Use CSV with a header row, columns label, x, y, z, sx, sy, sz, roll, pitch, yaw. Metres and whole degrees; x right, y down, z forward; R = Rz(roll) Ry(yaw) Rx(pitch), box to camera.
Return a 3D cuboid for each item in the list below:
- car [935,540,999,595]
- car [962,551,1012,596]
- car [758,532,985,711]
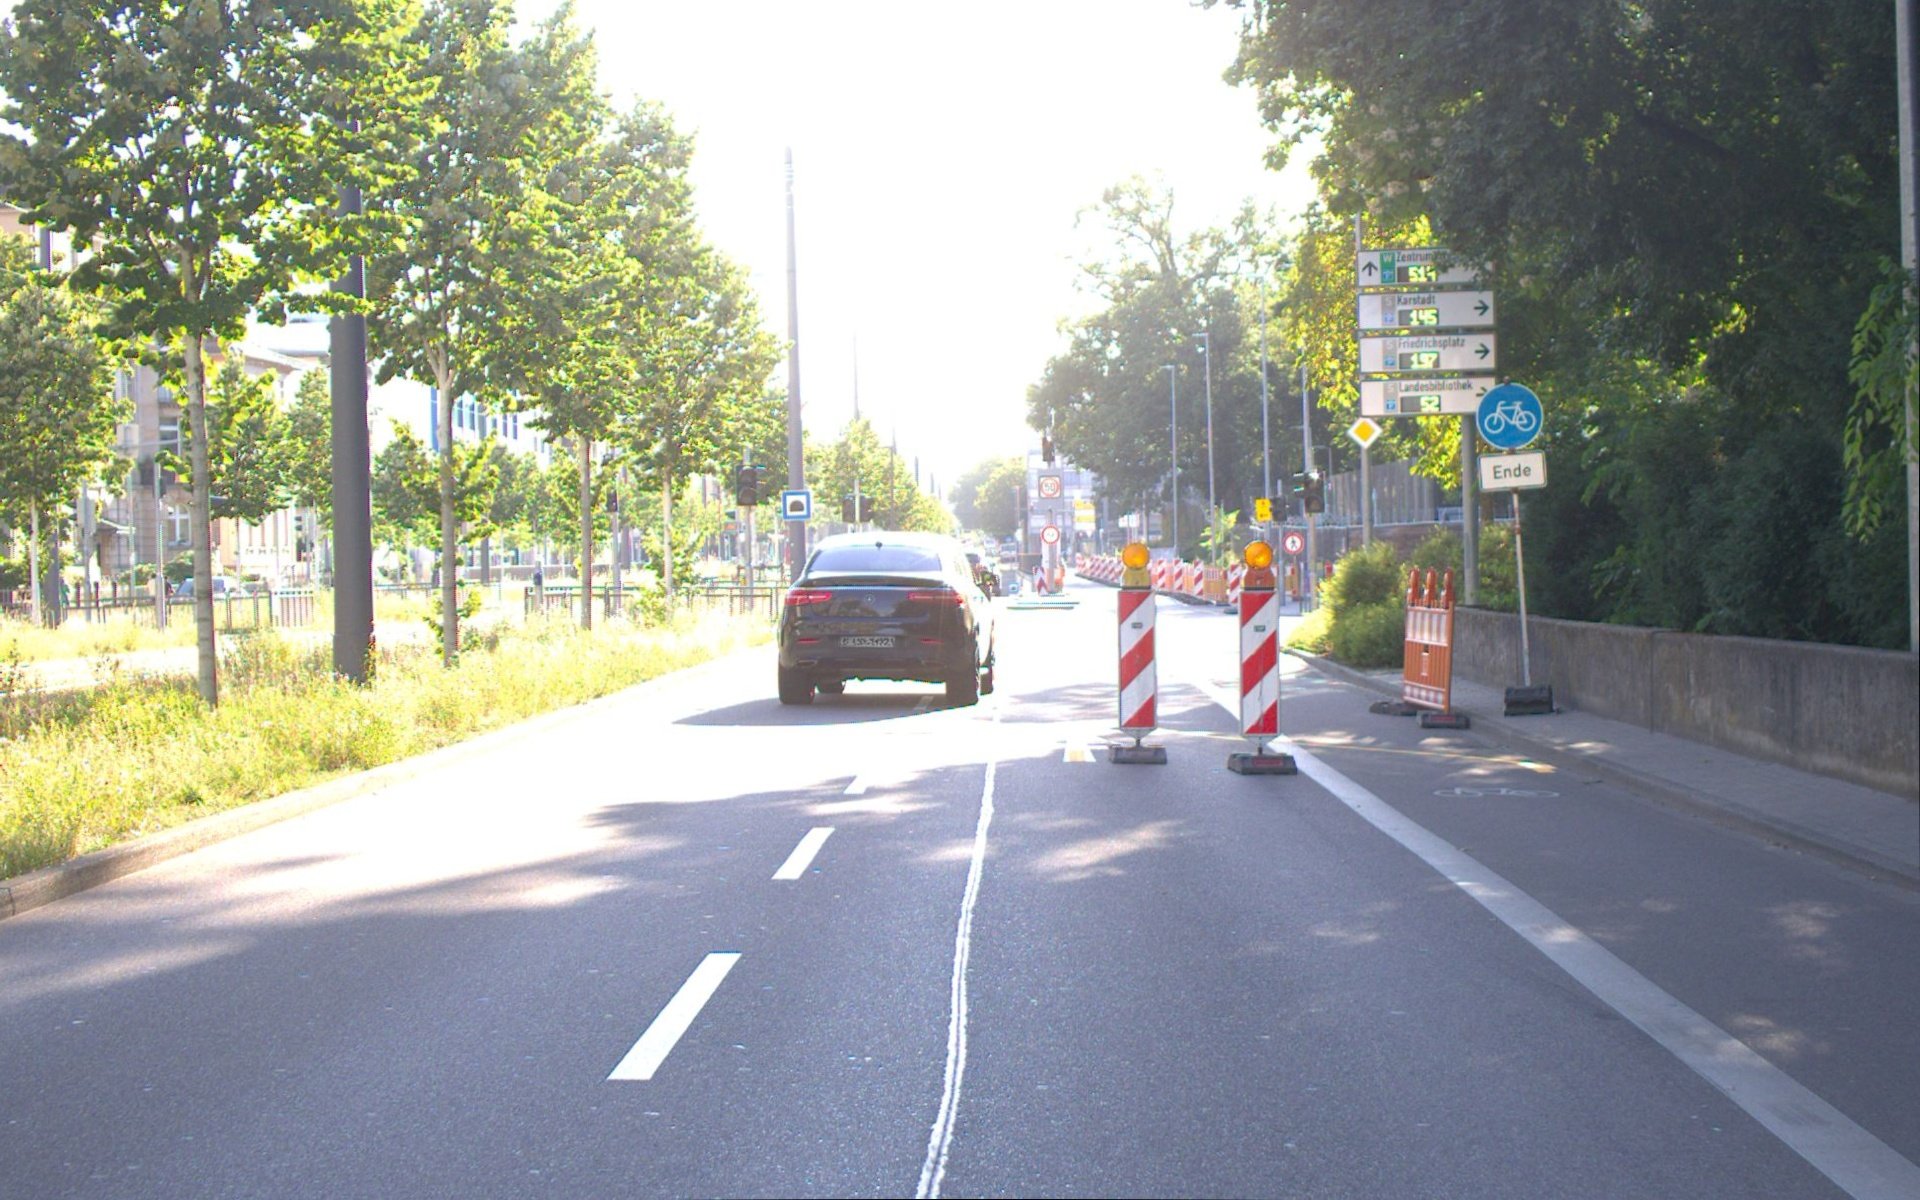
label,x,y,z,sx,sy,sz,roll,pitch,yaw
car,0.214,-0.986,103.225,1.886,1.575,4.000,0,2,0
car,0.996,-0.997,126.780,1.767,1.598,3.773,-1,1,0
car,-0.977,0.173,35.583,1.993,1.728,4.001,0,1,-6
